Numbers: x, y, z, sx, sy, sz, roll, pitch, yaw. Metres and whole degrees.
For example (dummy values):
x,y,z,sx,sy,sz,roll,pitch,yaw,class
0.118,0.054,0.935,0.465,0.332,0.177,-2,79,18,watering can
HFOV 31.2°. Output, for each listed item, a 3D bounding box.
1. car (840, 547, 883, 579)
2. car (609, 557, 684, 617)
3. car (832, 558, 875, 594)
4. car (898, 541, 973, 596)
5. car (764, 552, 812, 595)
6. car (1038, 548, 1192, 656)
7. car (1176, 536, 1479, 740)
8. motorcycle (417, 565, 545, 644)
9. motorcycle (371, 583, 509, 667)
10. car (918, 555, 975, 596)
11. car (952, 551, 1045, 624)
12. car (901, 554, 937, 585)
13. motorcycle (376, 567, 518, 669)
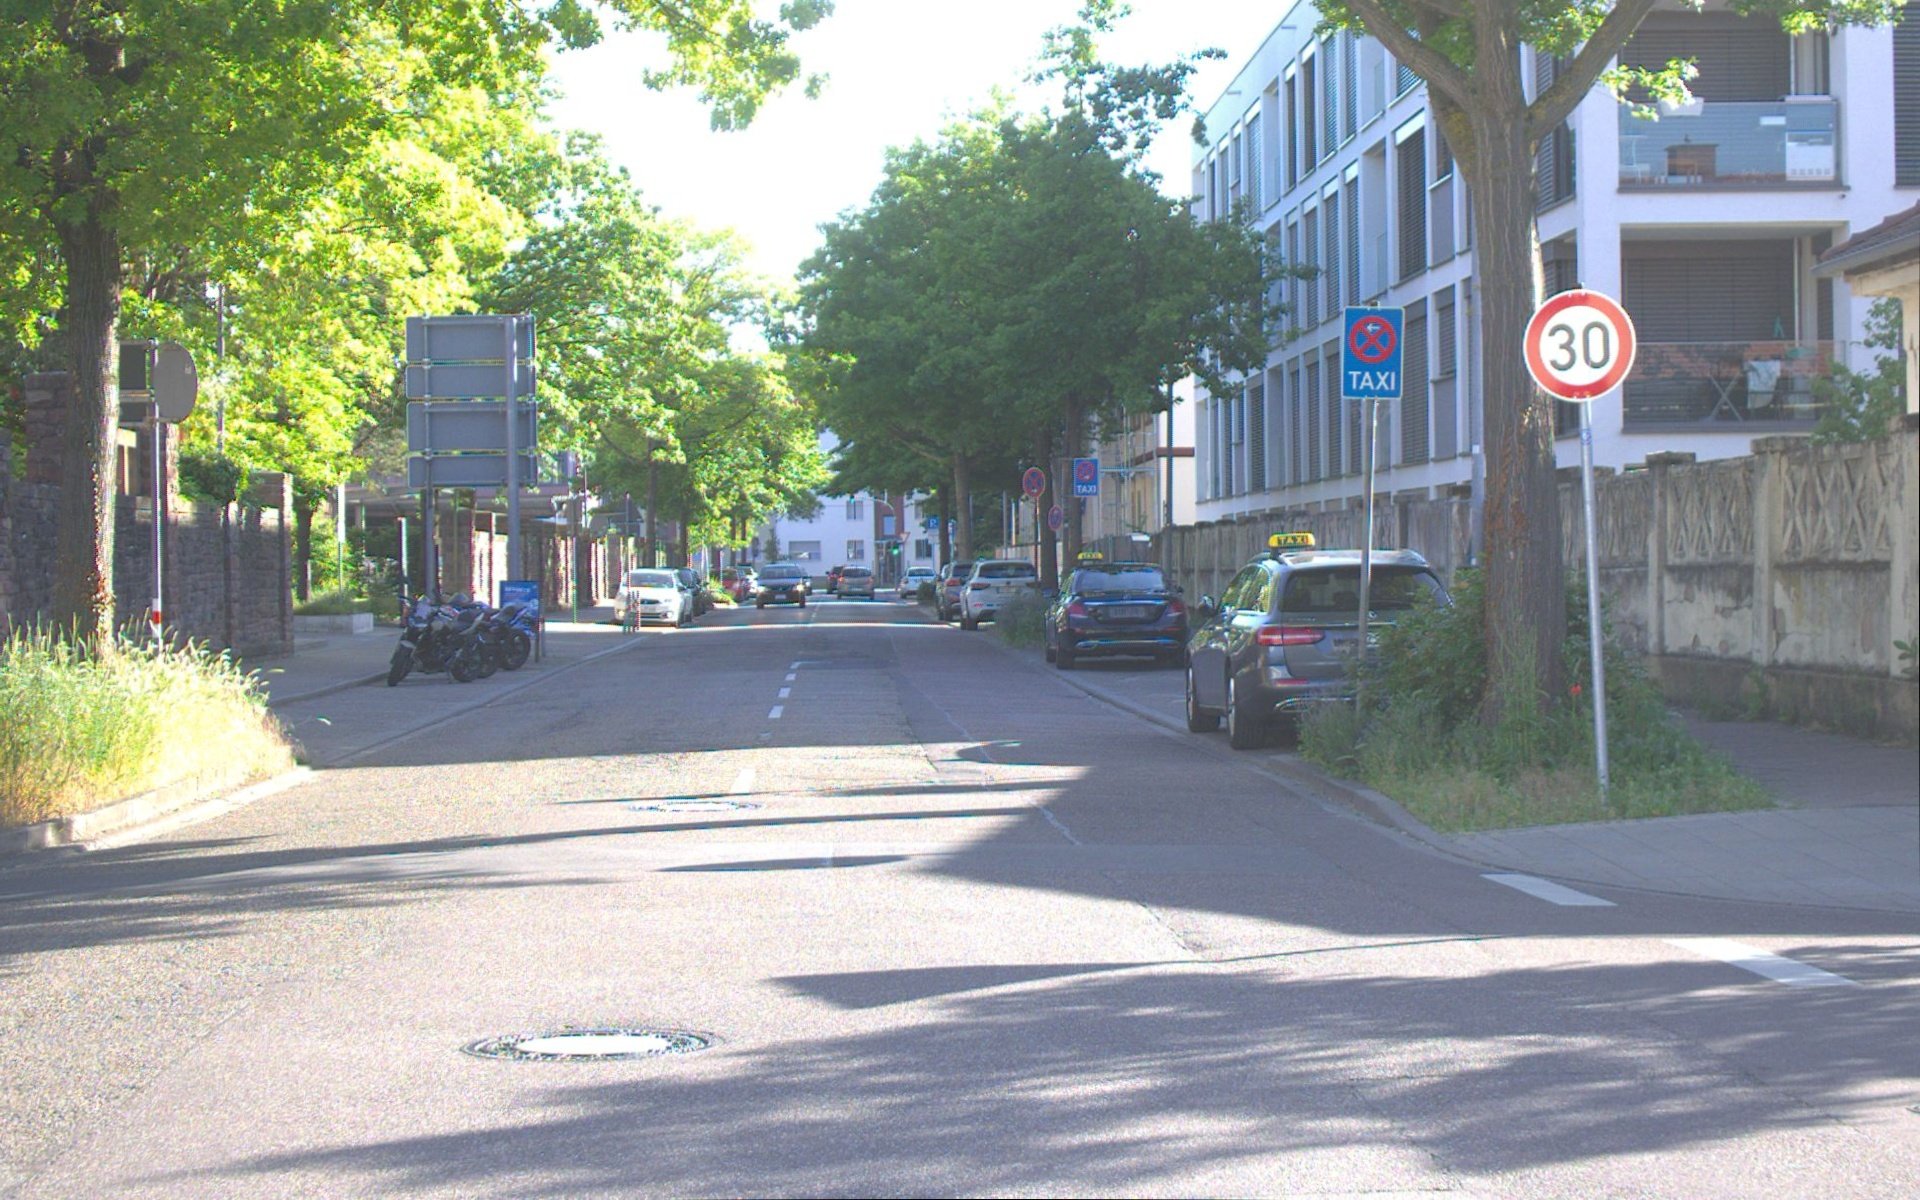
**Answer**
x,y,z,sx,sy,sz,roll,pitch,yaw,class
-4.461,-1.689,155.836,1.889,1.395,3.837,-1,1,-1,car
-8.087,-0.350,89.010,1.767,1.482,4.001,-1,1,-3,car
-4.833,-1.096,155.756,1.767,1.543,4.067,-1,1,-4,car
-0.690,-0.860,93.212,1.993,1.460,3.837,0,1,-1,car
-6.234,-0.969,124.852,1.653,1.525,4.000,-1,1,-2,car
2.137,0.005,48.396,1.767,1.435,4.001,-1,1,-3,car
2.800,0.241,27.150,1.703,1.463,4.789,0,1,-2,car
-6.786,0.055,48.825,0.577,1.071,2.118,0,1,31,motorcycle
-6.924,0.323,45.877,0.577,1.071,2.118,0,1,31,motorcycle
-0.503,-0.892,124.132,1.993,1.420,3.837,0,1,-1,car
0.842,-0.295,77.104,1.950,1.573,3.837,0,1,-1,car
-1.897,-1.428,158.213,1.585,1.395,3.837,0,1,-1,car
-6.651,0.224,44.684,0.577,1.271,2.118,0,1,31,motorcycle
